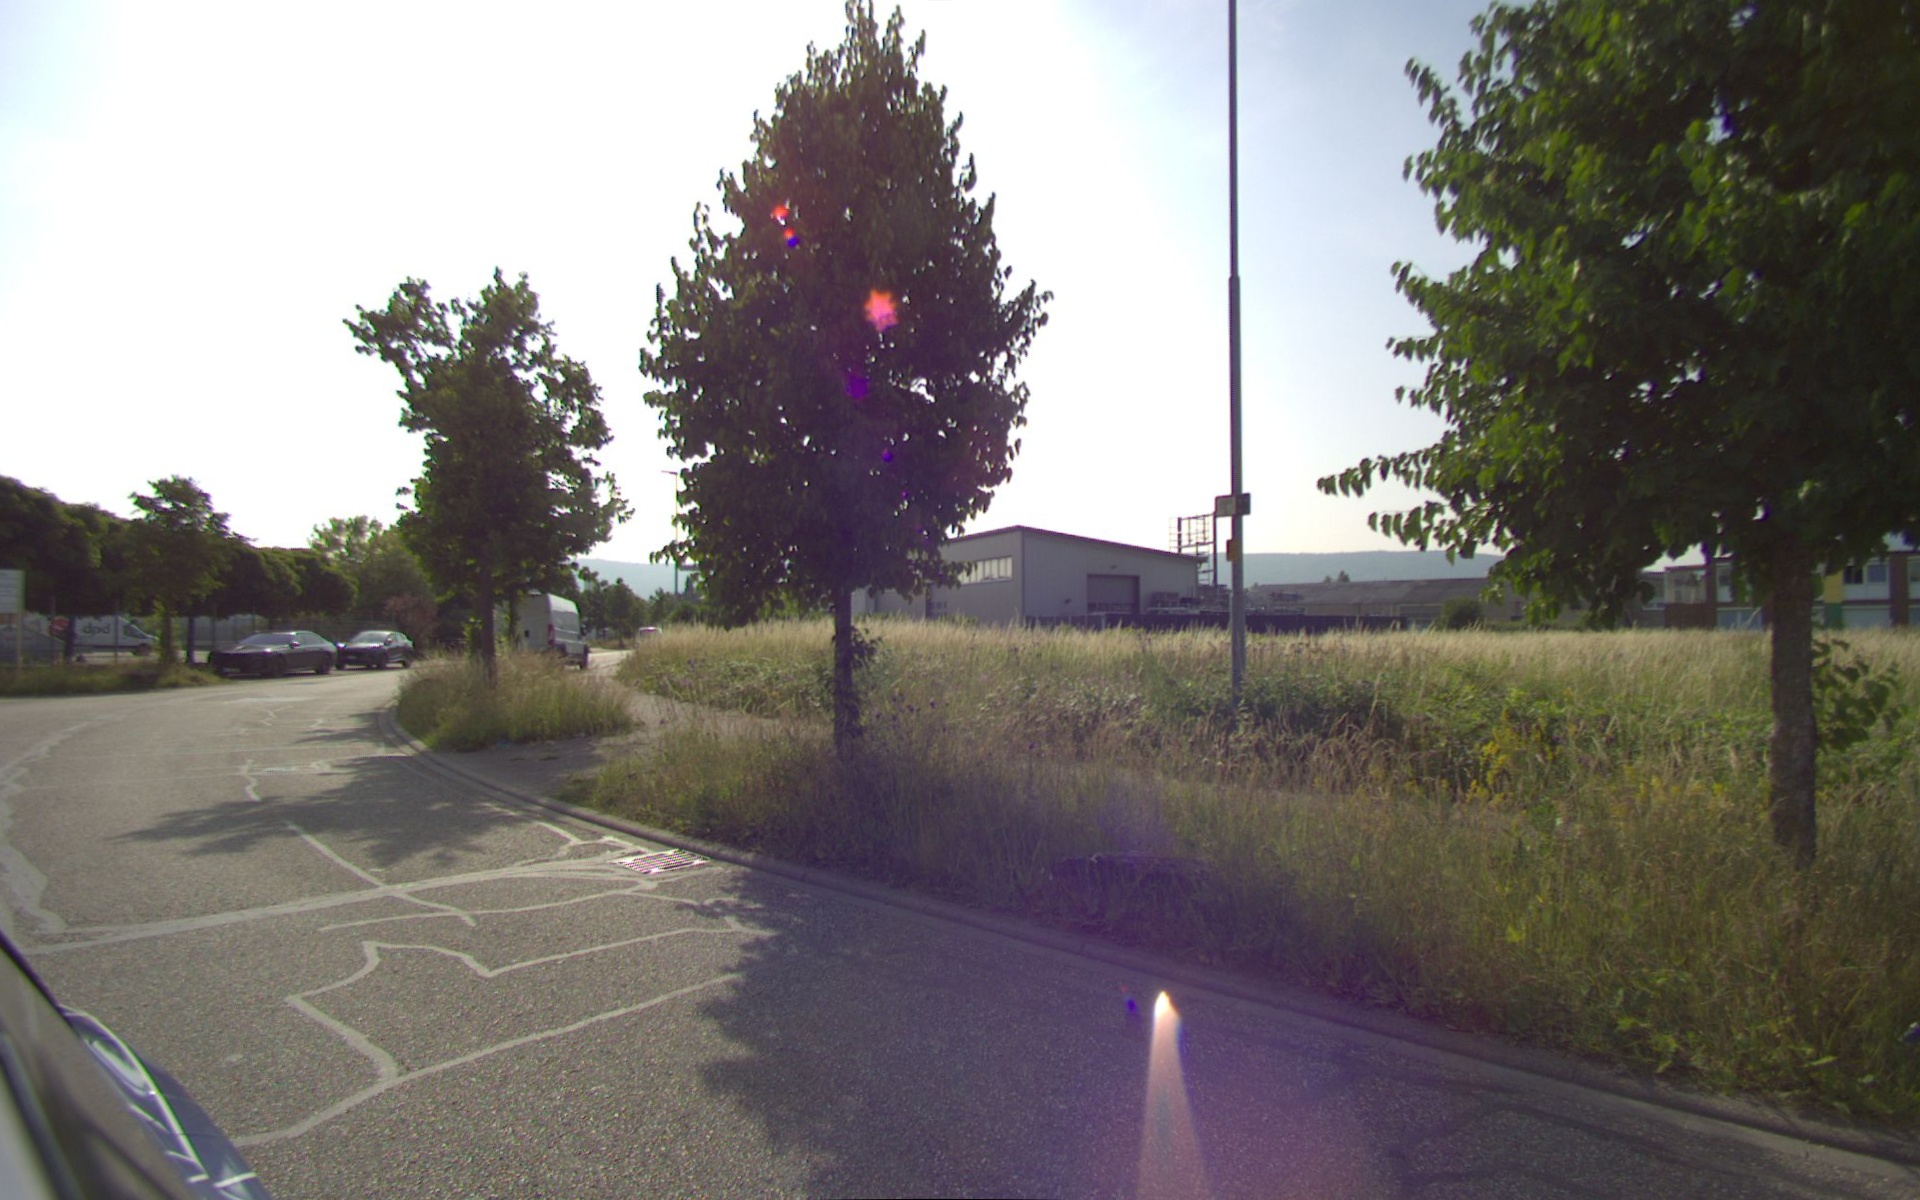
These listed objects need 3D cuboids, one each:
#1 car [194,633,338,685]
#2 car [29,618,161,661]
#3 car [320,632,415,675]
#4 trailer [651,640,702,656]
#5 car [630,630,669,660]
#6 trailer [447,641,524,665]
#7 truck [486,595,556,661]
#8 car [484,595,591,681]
[{"bbox_3d":[-23.259,1.931,34.192,1.857,1.586,5.127,1,-2,-8],"label":"car"},{"bbox_3d":[-55.755,2.532,65.366,2.211,2.669,6.187,-2,-3,41],"label":"car"},{"bbox_3d":[-24.231,2.151,41.578,1.857,1.586,4.120,2,-2,-8],"label":"car"},{"bbox_3d":[-21.634,3.679,77.695,2.514,1.082,9.747,-2,-2,-8],"label":"trailer"},{"bbox_3d":[-17.969,2.606,58.699,1.577,1.663,3.650,-1,-2,-8],"label":"car"},{"bbox_3d":[-26.978,2.985,57.838,1.914,1.245,7.465,2,-2,-9],"label":"trailer"},{"bbox_3d":[-28.408,1.864,65.732,2.657,3.994,6.060,2,-3,-10],"label":"truck"},{"bbox_3d":[-14.260,1.289,34.575,2.074,2.615,6.518,0,-2,-11],"label":"car"}]
